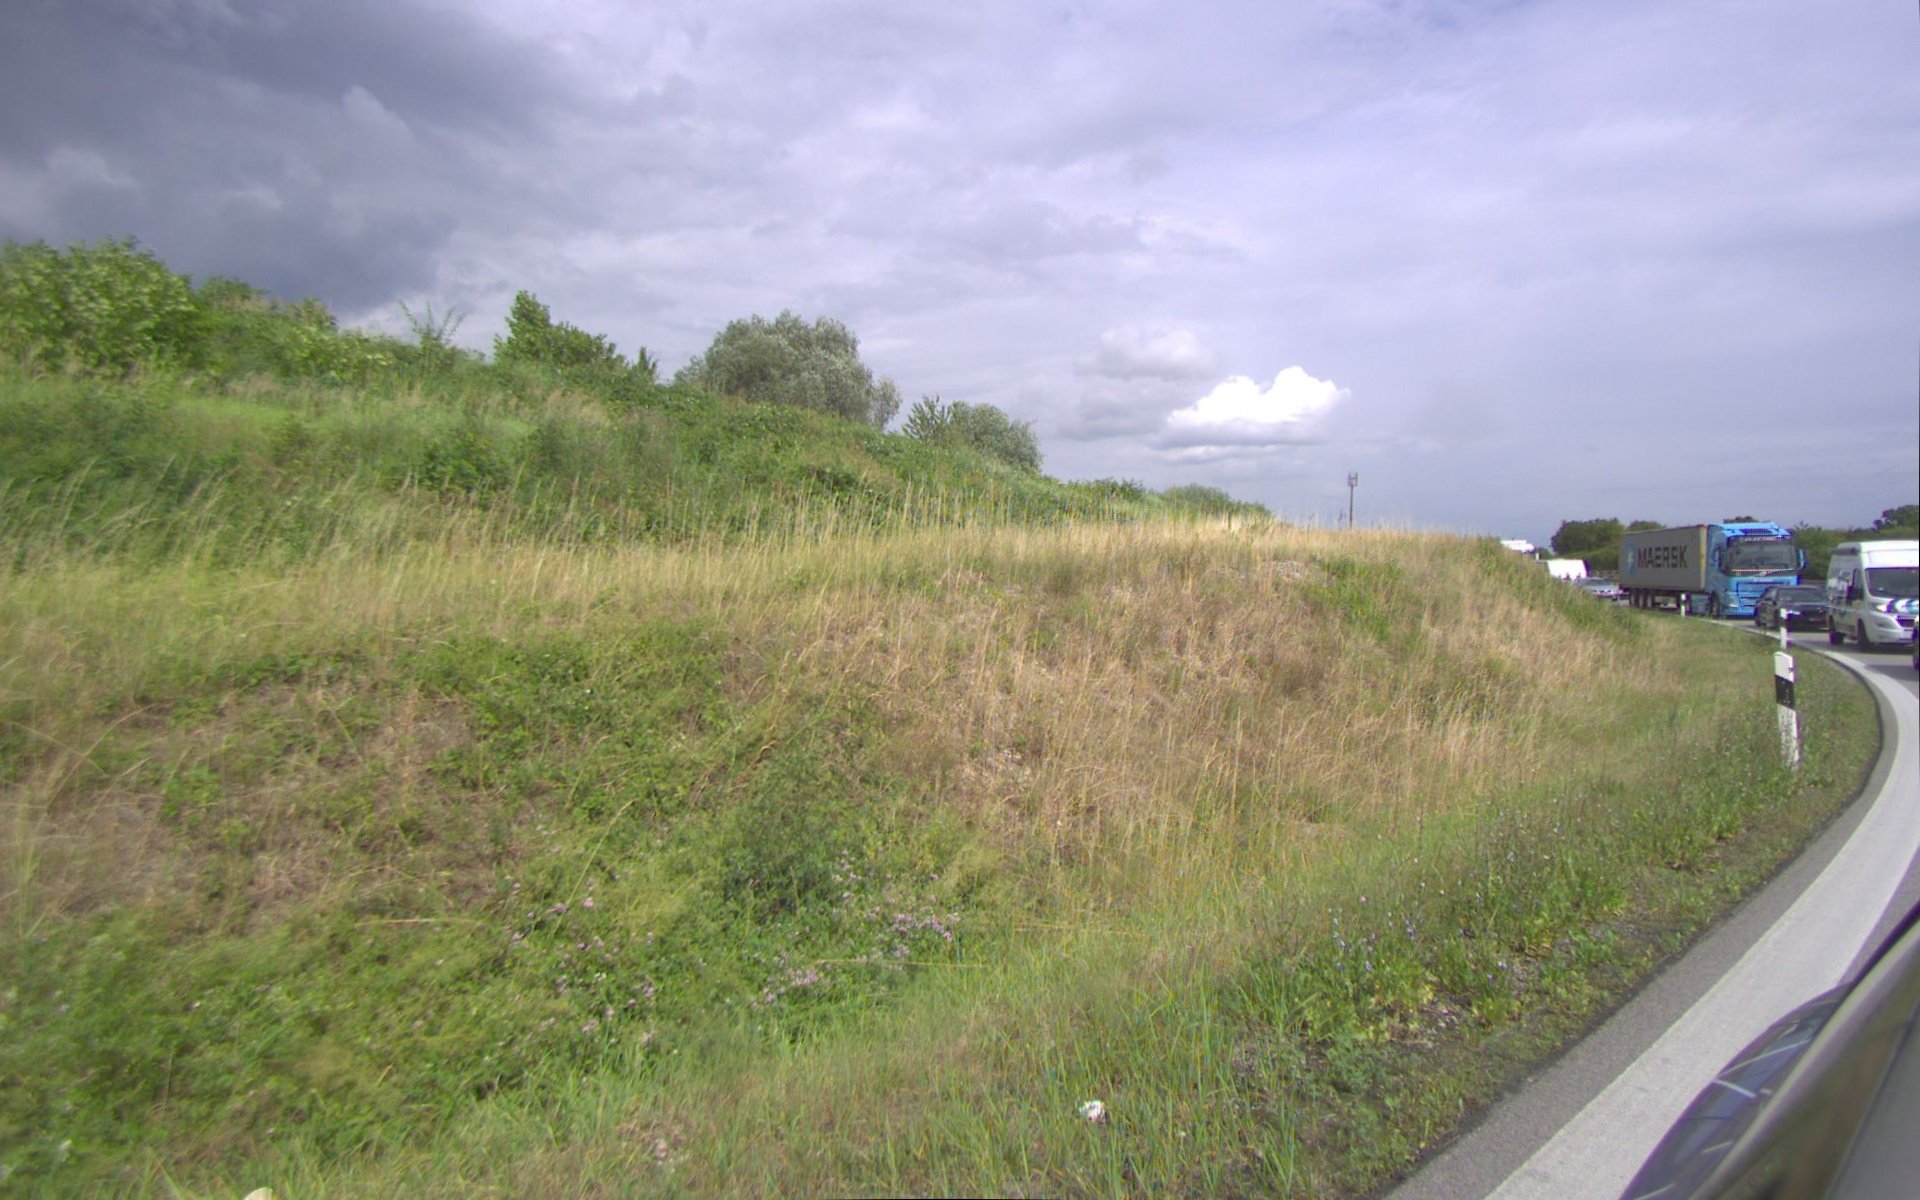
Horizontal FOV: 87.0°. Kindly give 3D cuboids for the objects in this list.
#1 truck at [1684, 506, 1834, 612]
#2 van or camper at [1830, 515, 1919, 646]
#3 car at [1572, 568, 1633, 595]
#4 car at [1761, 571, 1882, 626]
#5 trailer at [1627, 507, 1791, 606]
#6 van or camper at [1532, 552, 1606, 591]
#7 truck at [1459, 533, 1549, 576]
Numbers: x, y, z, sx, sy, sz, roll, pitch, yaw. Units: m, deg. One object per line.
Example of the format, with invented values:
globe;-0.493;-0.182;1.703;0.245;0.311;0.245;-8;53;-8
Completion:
truck;33.459;-1.631;42.730;3.142;4.124;6.600;0;1;21
van or camper;23.439;-0.480;24.840;2.382;2.945;5.653;0;1;33
car;39.018;-1.135;61.577;1.971;1.548;3.984;0;3;15
car;28.206;-0.112;33.295;1.979;1.638;3.967;1;2;25
trailer;35.792;-1.938;49.033;3.236;4.213;11.934;0;1;21
van or camper;40.486;-1.926;67.492;2.515;2.237;5.694;-1;4;13
truck;44.296;-3.669;82.898;3.075;3.279;11.132;0;2;10
